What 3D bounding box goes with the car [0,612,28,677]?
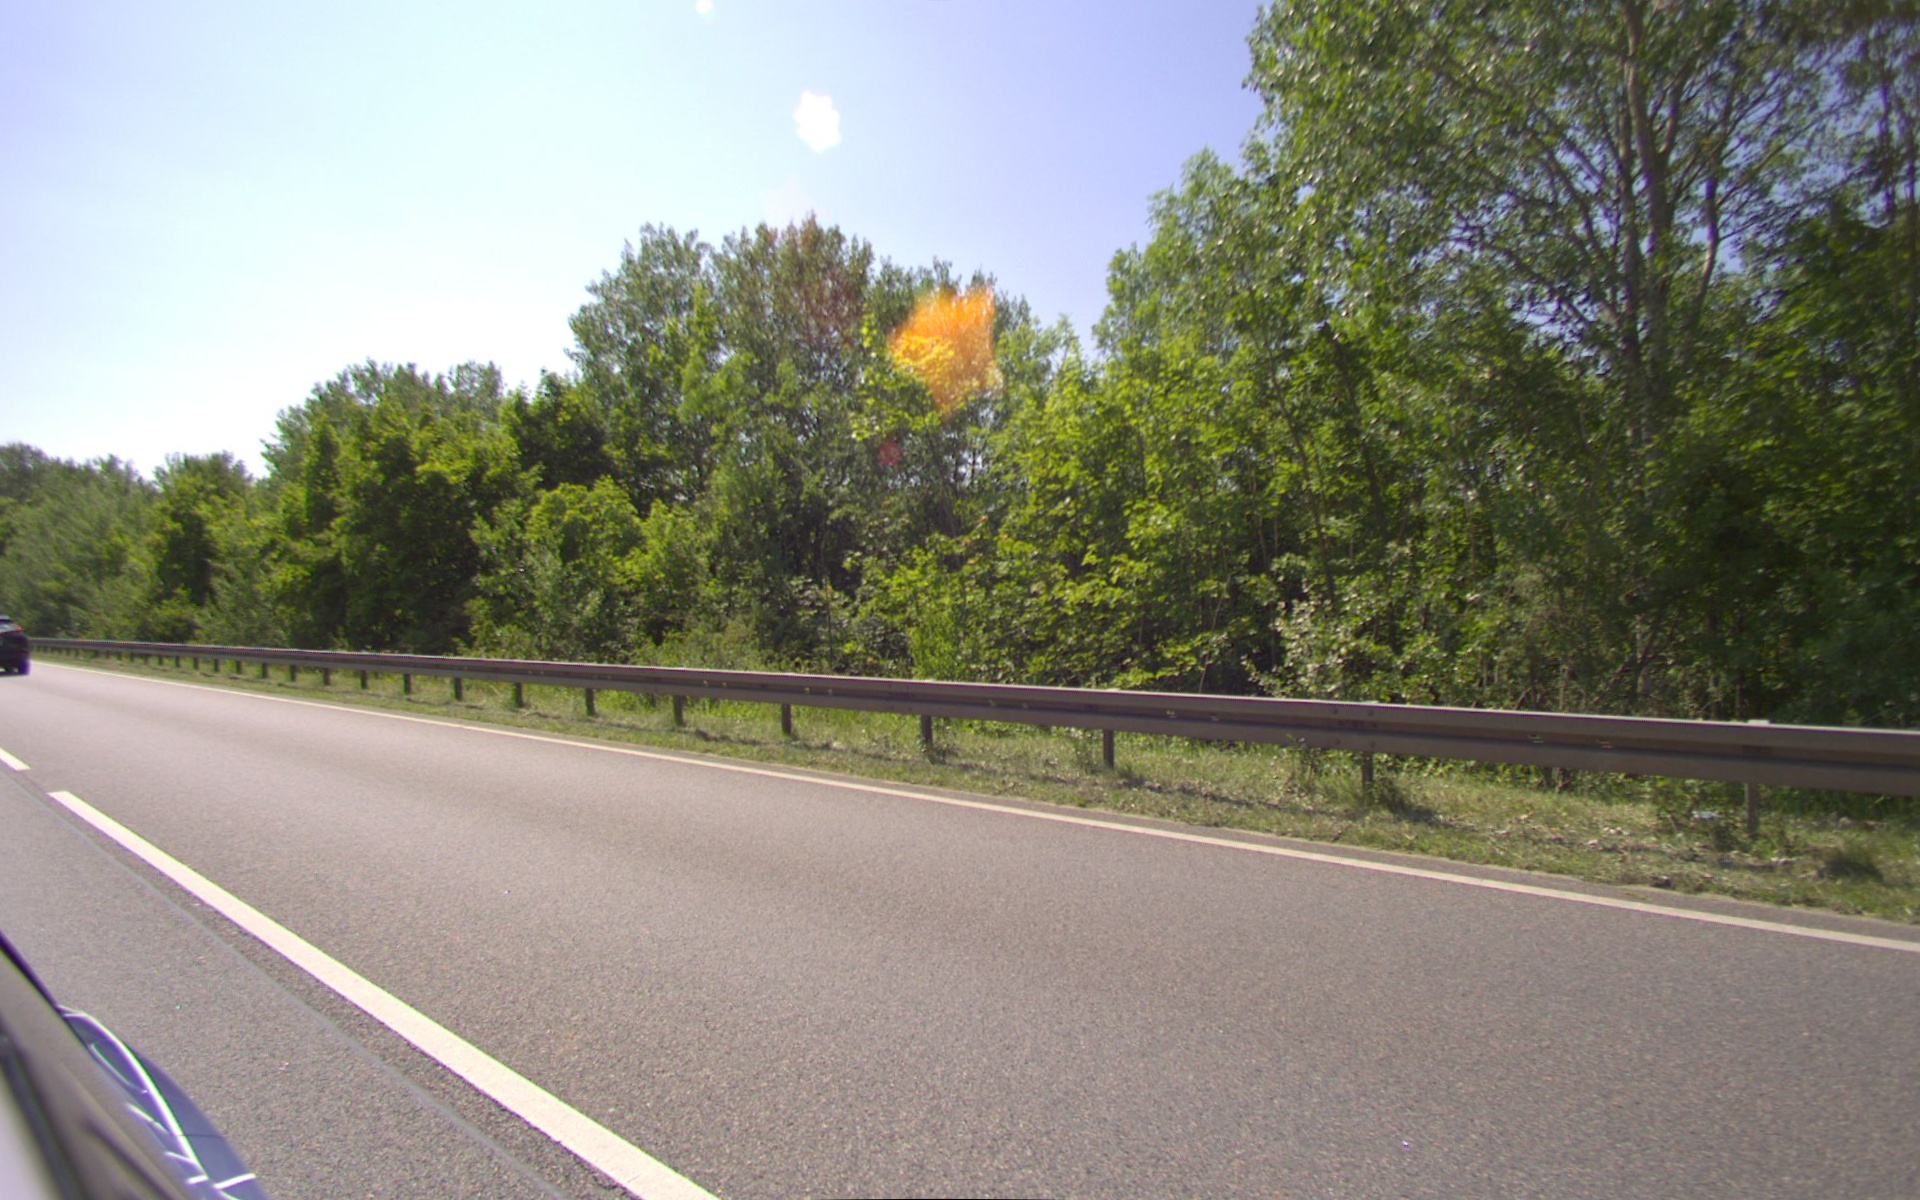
[{"bbox_3d":[-27.282,1.223,27.994,3.997,1.717,1.740,-1,0,41],"label":"car"}]
